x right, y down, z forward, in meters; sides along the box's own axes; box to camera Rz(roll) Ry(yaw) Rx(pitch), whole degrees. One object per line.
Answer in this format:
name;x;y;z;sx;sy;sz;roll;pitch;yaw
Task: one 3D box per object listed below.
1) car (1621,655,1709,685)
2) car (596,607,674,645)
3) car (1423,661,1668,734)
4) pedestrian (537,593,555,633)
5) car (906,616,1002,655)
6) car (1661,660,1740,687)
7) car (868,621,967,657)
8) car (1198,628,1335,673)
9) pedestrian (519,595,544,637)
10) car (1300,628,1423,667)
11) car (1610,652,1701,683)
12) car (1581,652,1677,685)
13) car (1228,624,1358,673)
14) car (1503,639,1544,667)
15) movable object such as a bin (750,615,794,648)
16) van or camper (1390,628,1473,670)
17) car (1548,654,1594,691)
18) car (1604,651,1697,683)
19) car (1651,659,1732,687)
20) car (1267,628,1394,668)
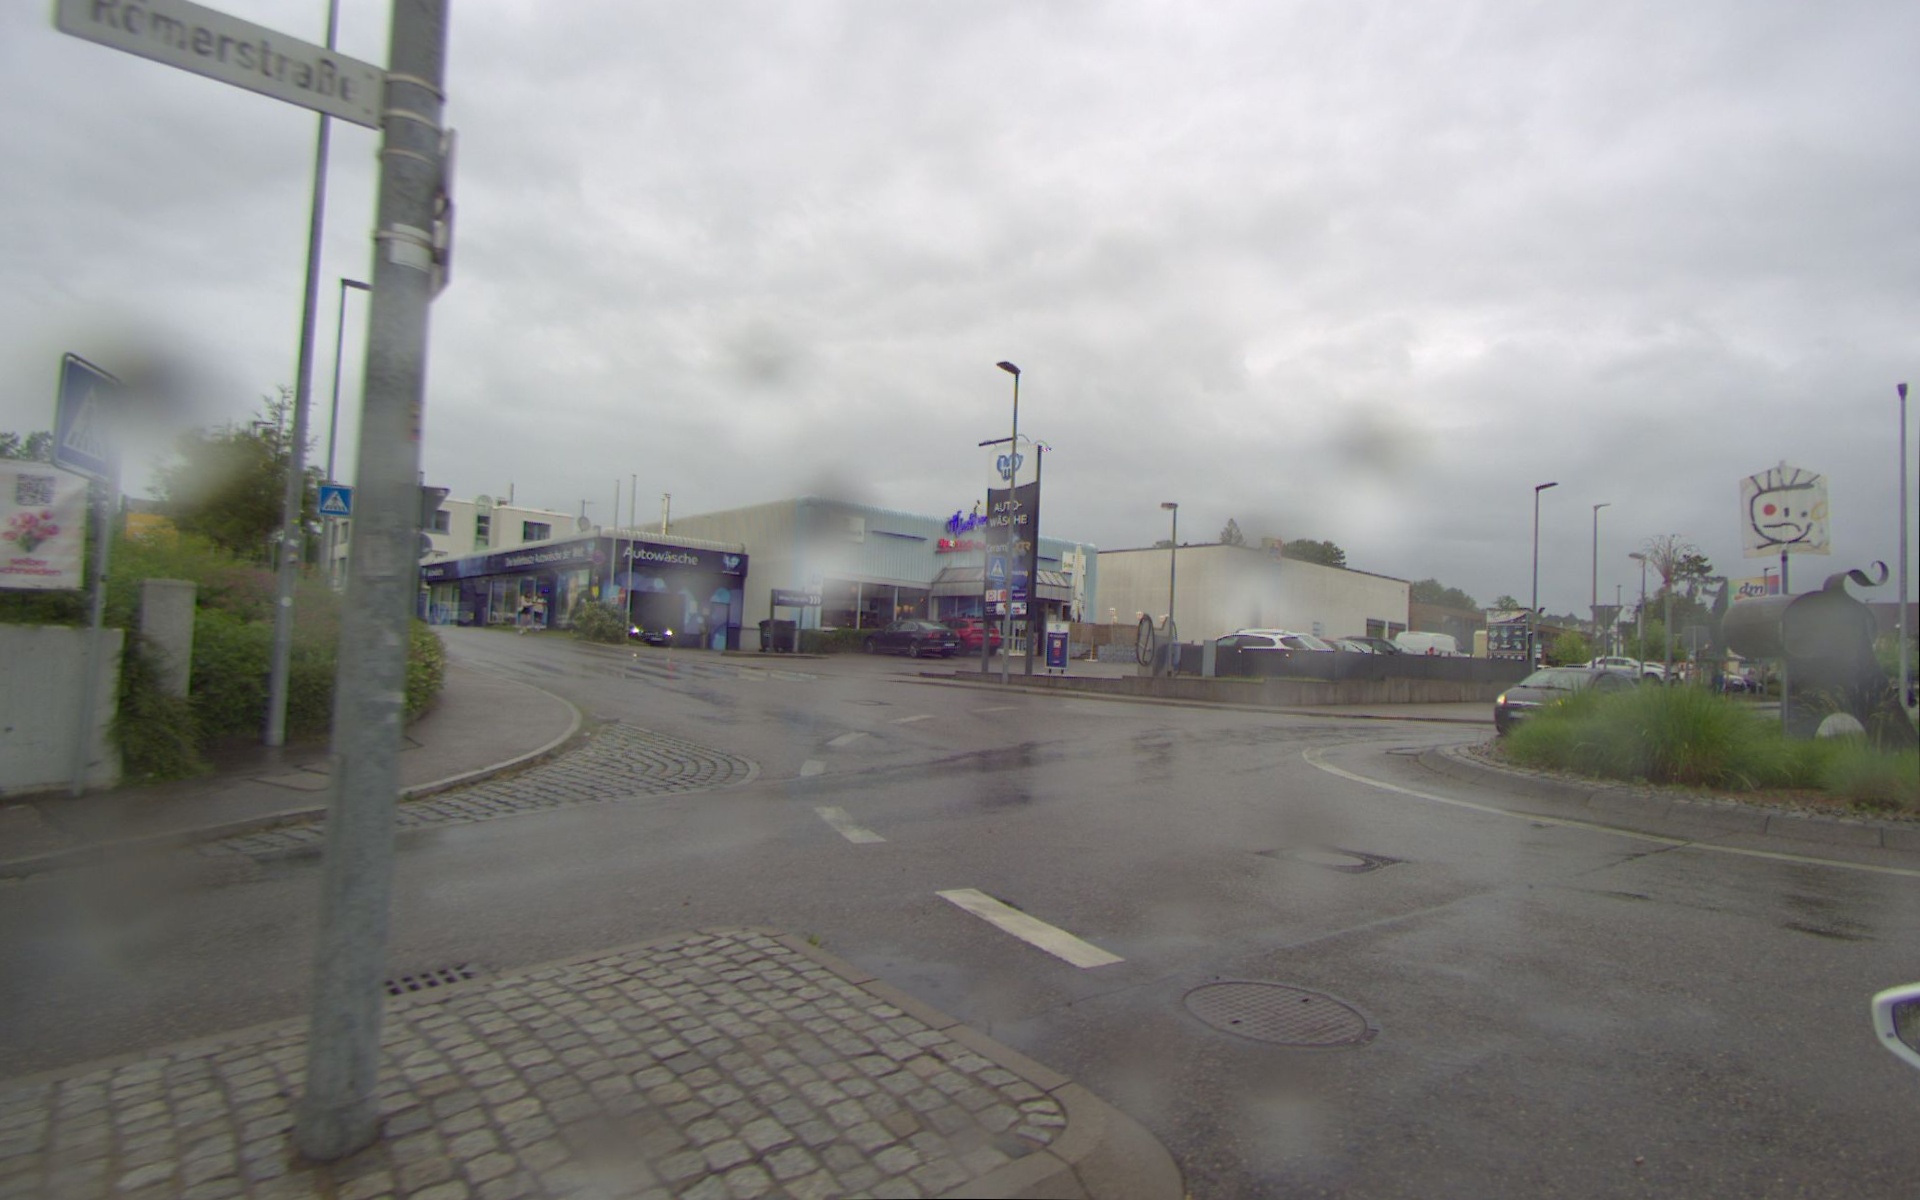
car;41.069;4.054;58.579;1.783;1.572;3.948;4;-4;-44
car;-13.860;1.111;42.713;1.905;1.550;3.956;2;-2;-38
car;12.818;2.124;21.929;5.271;1.400;1.988;3;-3;-25
pedestrian;-15.583;0.501;37.807;0.464;1.484;0.541;1;1;-42
car;-0.271;1.434;41.425;1.873;1.506;3.953;1;-1;-40
car;48.441;4.803;65.712;1.783;1.572;3.948;4;-4;-44
car;-1.707;1.496;39.420;1.873;1.313;3.953;1;-1;-40
car;10.015;1.614;32.981;1.873;1.313;3.953;1;-1;-40
pedestrian;-15.957;0.590;37.415;0.600;1.551;0.765;1;1;-41
car;15.155;1.752;38.052;1.873;1.313;3.953;1;-1;-40
car;39.161;3.769;56.608;1.783;1.572;3.948;4;-4;-44
car;35.335;3.610;53.113;1.840;1.572;3.948;4;-4;-44
car;11.623;1.687;35.239;1.783;1.572;3.948;4;-4;-44
car;45.945;4.264;81.847;1.972;2.041;3.976;3;1;43
movable object such as a bin;-7.619;1.270;40.701;1.205;1.313;1.461;1;-1;-41
van or camper;21.730;2.214;46.236;4.347;1.784;1.865;1;-1;-41
car;39.198;4.598;64.450;1.969;2.040;3.983;3;1;39
car;37.854;3.671;55.110;1.783;1.572;3.948;4;-4;-44
car;46.588;4.647;64.001;1.783;1.572;3.948;4;-4;-44
car;13.436;1.700;36.569;1.873;1.313;3.953;1;-1;-40
